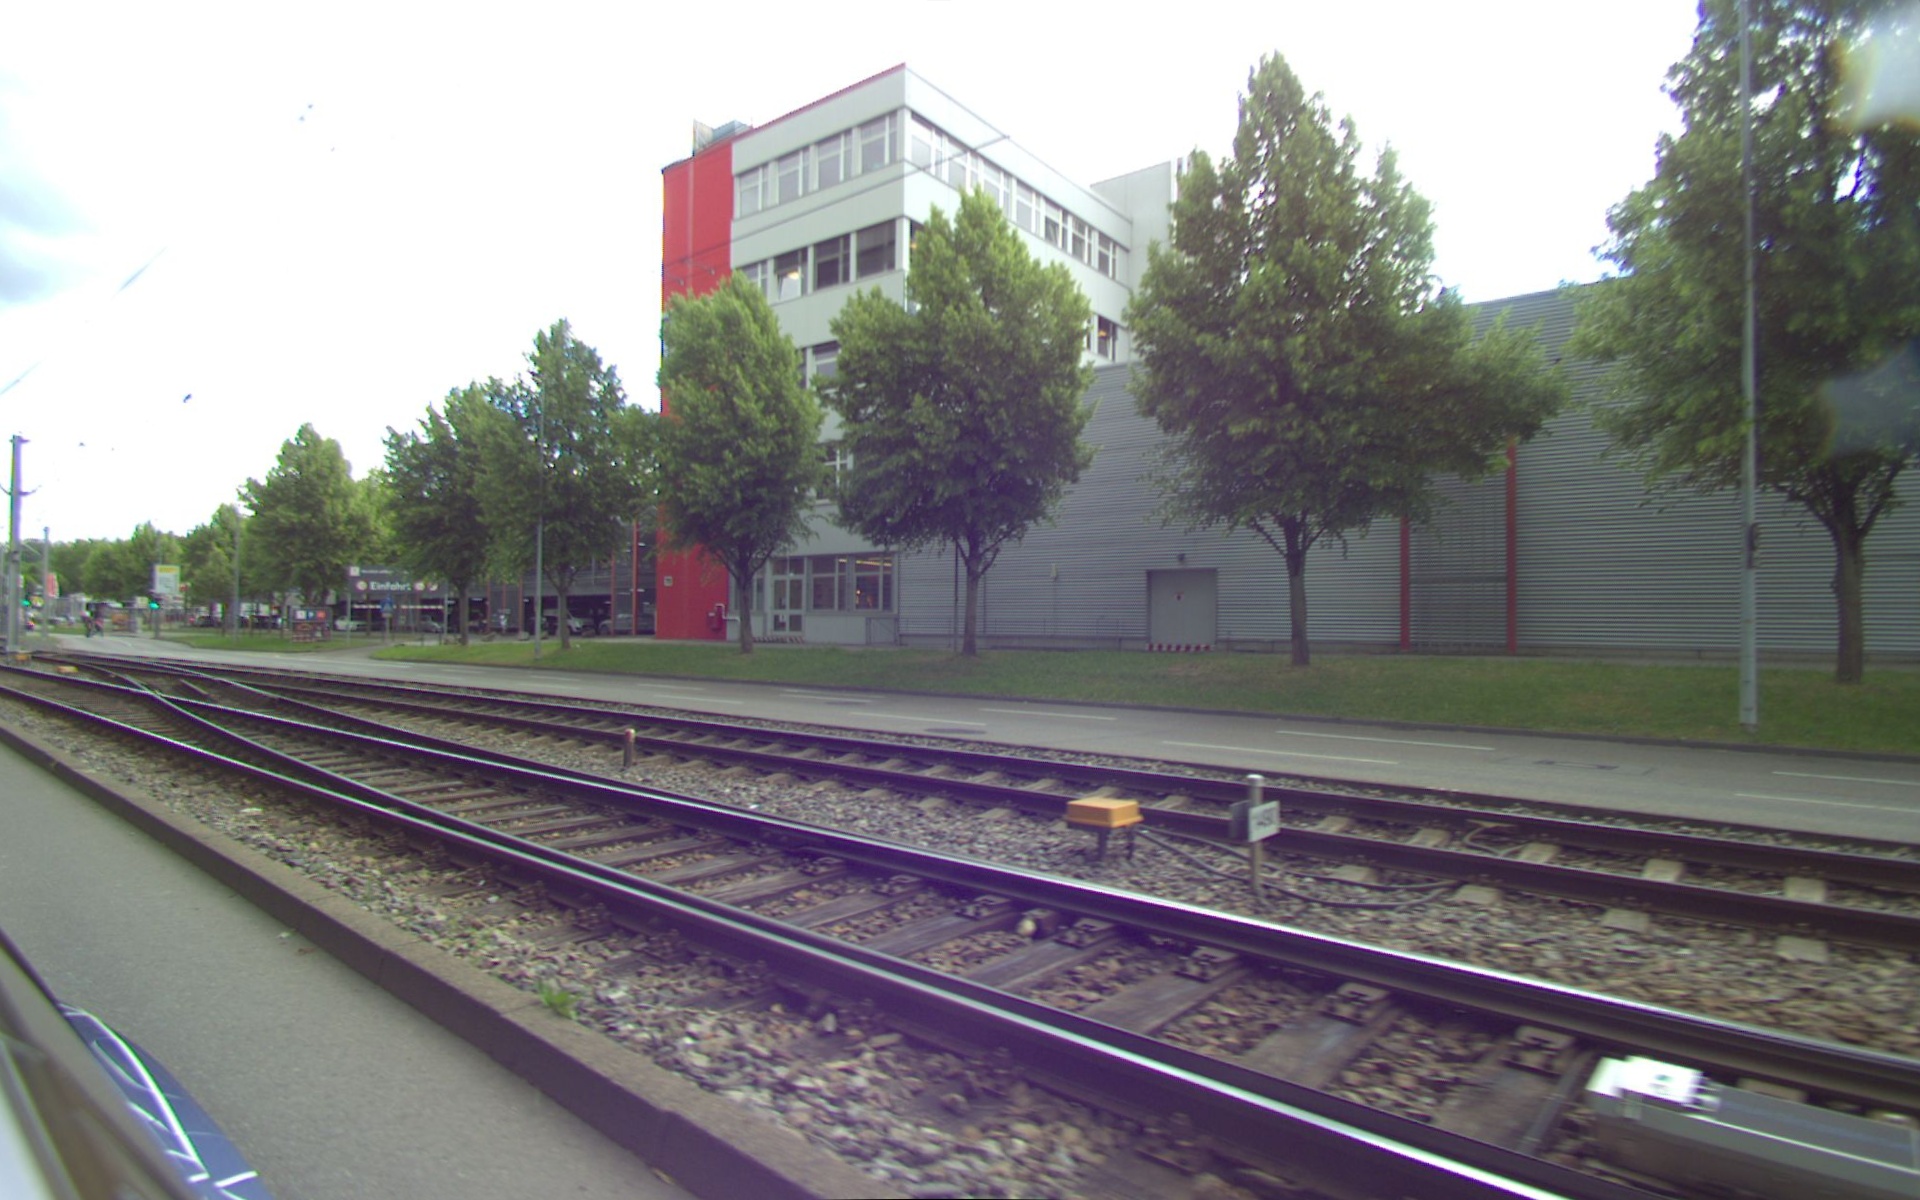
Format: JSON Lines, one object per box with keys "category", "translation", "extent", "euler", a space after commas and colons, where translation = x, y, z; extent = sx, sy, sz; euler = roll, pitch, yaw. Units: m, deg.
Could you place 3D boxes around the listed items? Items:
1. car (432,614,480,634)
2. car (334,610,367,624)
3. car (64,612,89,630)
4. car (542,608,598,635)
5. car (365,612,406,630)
{"category": "car", "translation": [-42.943, 2.008, 86.225], "extent": [4.399, 1.640, 1.974], "euler": [-1, -1, 38]}
{"category": "car", "translation": [-72.566, 2.018, 120.426], "extent": [4.399, 1.640, 1.974], "euler": [-1, -1, 38]}
{"category": "car", "translation": [-99.694, 2.393, 114.130], "extent": [1.970, 2.029, 4.004], "euler": [1, -2, -43]}
{"category": "car", "translation": [-29.536, 1.627, 76.545], "extent": [4.399, 2.029, 1.974], "euler": [-1, -1, 38]}
{"category": "car", "translation": [-55.276, 2.006, 97.332], "extent": [4.399, 1.712, 1.974], "euler": [-1, -1, 38]}
